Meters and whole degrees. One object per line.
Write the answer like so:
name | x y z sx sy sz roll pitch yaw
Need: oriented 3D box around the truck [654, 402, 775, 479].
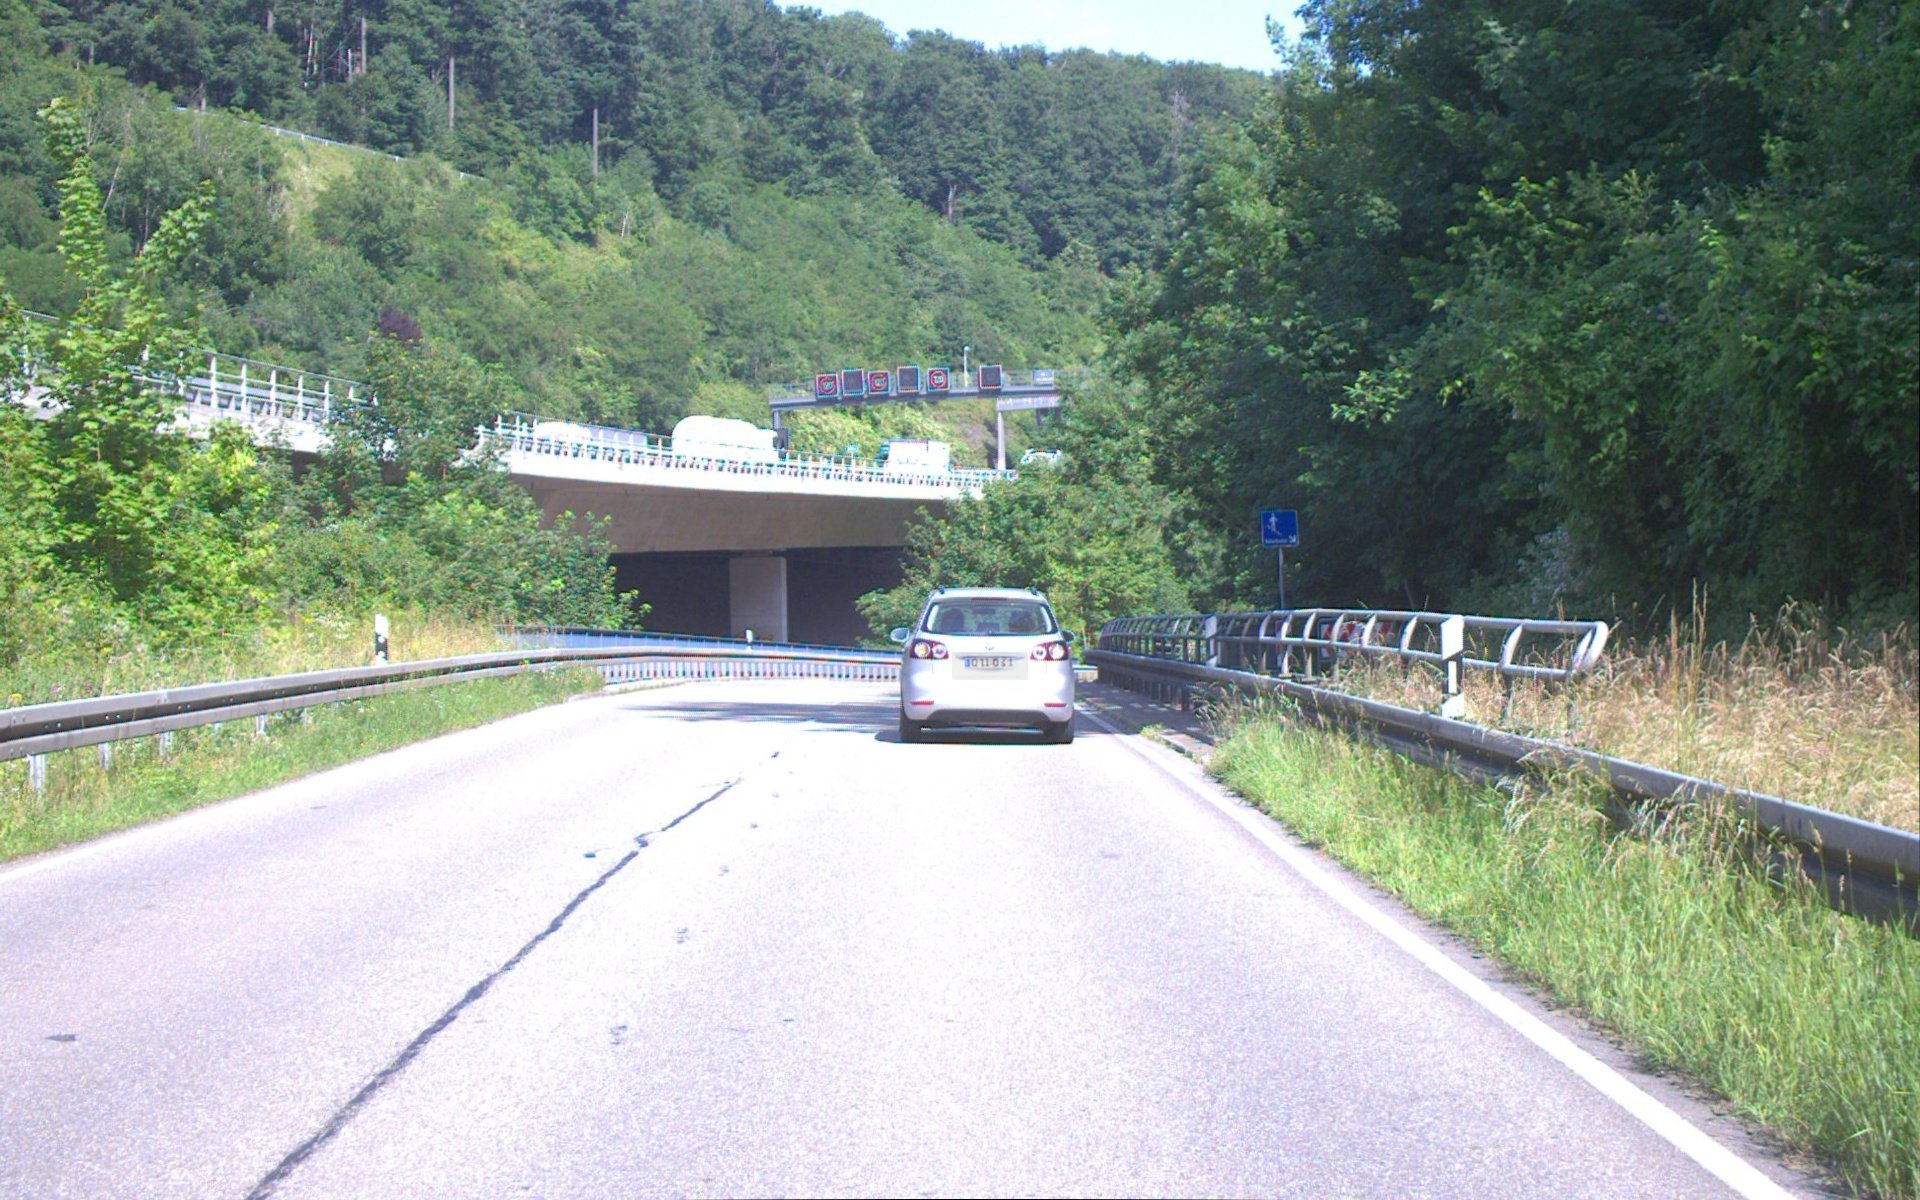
truck | -11.964 -7.769 168.624 3.371 3.343 10.171 1 0 11

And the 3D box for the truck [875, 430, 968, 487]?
truck | -2.403 -8.962 218.762 3.761 3.373 10.502 1 1 11

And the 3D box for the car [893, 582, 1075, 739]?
car | 0.218 0.592 35.455 1.751 1.515 4.159 0 0 0

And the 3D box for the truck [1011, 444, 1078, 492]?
truck | 6.507 -10.084 263.362 3.542 3.412 9.894 1 1 11
